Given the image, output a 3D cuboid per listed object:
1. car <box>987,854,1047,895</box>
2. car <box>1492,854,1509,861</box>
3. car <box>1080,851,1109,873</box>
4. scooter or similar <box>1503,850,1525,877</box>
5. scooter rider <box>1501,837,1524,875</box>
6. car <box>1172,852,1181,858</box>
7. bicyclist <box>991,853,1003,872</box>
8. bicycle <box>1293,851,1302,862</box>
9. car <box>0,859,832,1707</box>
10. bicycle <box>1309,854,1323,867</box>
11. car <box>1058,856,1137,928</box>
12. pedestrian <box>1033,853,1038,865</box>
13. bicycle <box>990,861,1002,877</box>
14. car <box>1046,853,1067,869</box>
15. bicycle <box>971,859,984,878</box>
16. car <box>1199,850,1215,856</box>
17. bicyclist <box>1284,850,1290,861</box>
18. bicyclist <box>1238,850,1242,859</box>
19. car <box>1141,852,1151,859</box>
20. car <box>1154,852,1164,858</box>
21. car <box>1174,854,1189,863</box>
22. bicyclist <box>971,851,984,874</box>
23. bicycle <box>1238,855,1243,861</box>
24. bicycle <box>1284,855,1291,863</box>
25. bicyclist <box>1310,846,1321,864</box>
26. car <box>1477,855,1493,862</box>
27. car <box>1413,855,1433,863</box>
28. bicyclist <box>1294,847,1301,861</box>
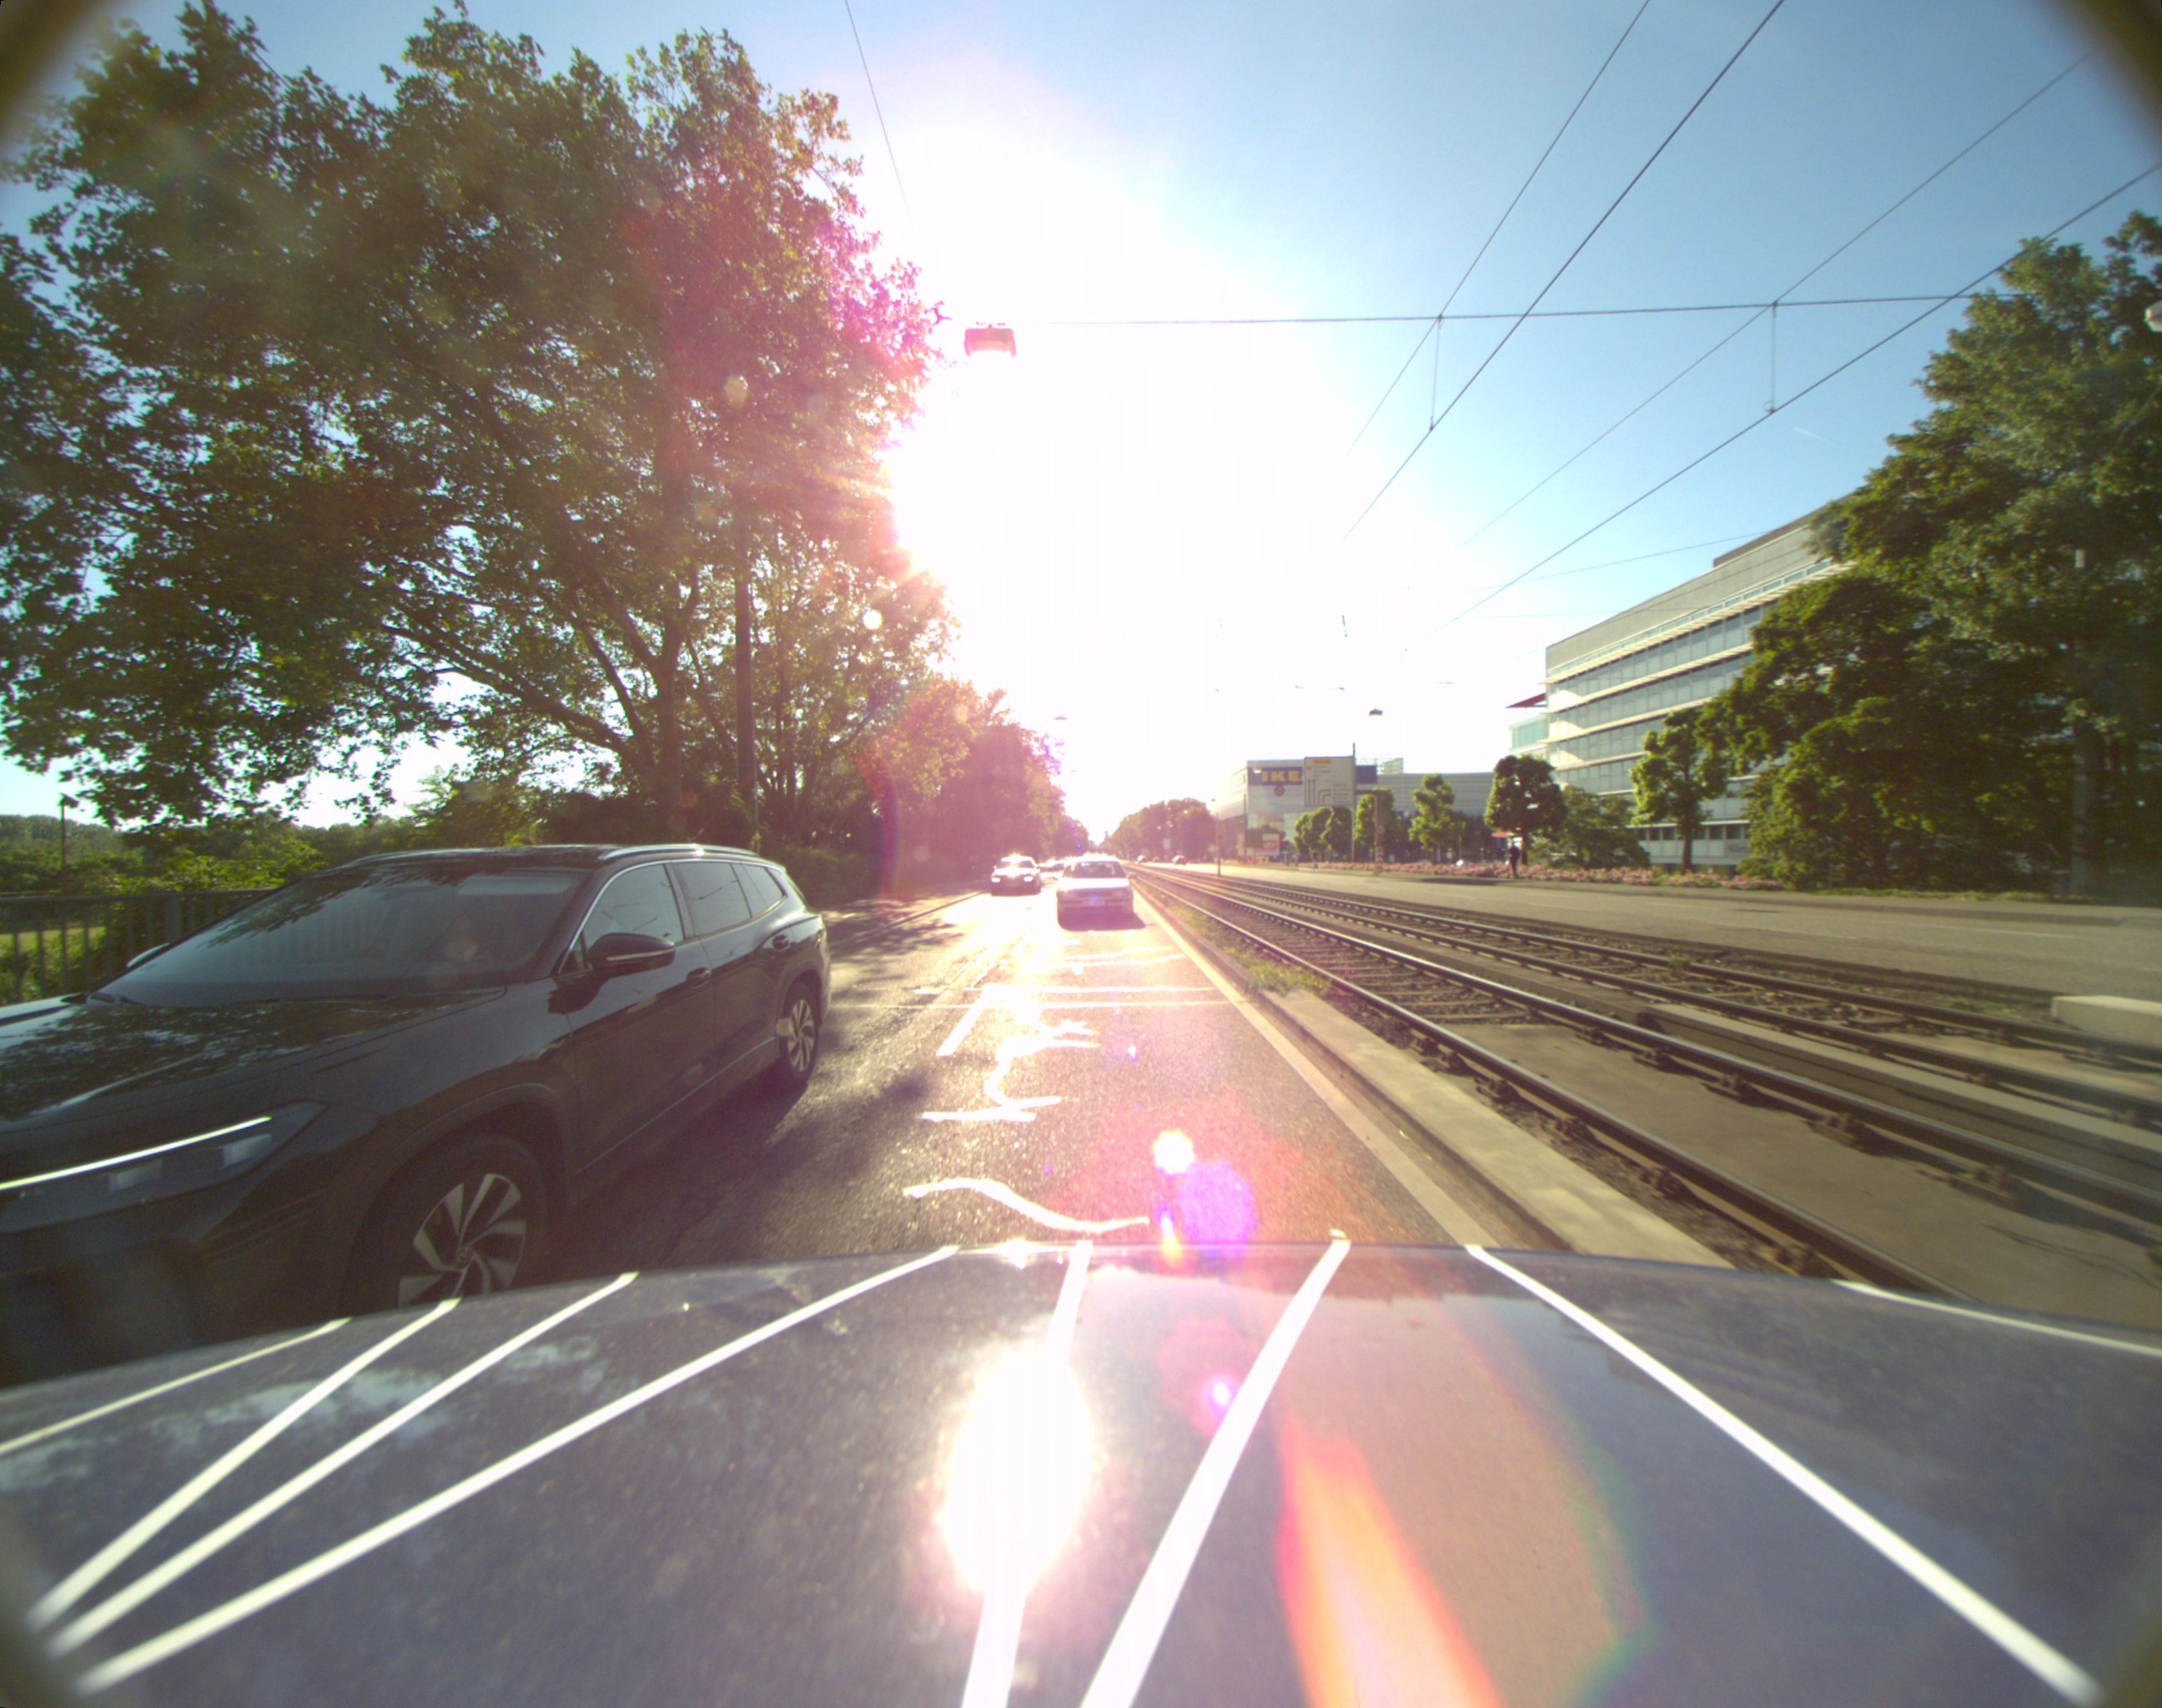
[{"bbox_3d":[-2.557,0.785,31.402,1.870,1.459,4.586,-2,0,2],"label":"car"},{"bbox_3d":[98.487,0.894,178.446,1.800,1.645,4.000,-1,0,1],"label":"car"},{"bbox_3d":[1.012,0.569,54.789,1.871,1.422,3.831,-3,0,3],"label":"car"},{"bbox_3d":[21.495,0.467,37.746,0.473,1.288,1.263,-1,1,7],"label":"scooter or similar"},{"bbox_3d":[21.454,0.105,37.768,0.683,1.838,1.001,-1,1,8],"label":"scooter rider"},{"bbox_3d":[22.799,0.262,181.556,1.938,1.468,4.134,1,0,9],"label":"car"},{"bbox_3d":[-5.506,0.543,49.687,0.642,1.219,0.890,0,0,0],"label":"bicyclist"},{"bbox_3d":[25.473,0.321,89.454,0.604,1.212,1.749,-3,0,7],"label":"bicycle"},{"bbox_3d":[-2.788,0.898,3.323,1.849,1.651,4.439,-1,1,1],"label":"car"},{"bbox_3d":[20.229,0.533,65.410,0.706,1.067,2.028,-3,0,7],"label":"bicycle"},{"bbox_3d":[0.374,0.811,18.034,1.602,1.440,3.799,-3,0,1],"label":"car"},{"bbox_3d":[-6.849,0.740,113.664,0.724,1.698,0.813,0,0,0],"label":"pedestrian"},{"bbox_3d":[-5.503,0.961,49.410,0.566,0.968,1.788,-1,1,0],"label":"bicycle"},{"bbox_3d":[-2.328,0.650,70.705,1.857,1.415,3.979,-2,0,-3],"label":"car"},{"bbox_3d":[-6.725,0.934,49.405,0.623,1.114,1.812,-1,1,0],"label":"bicycle"},{"bbox_3d":[34.947,-0.208,210.898,4.252,1.489,2.016,1,1,6],"label":"car"},{"bbox_3d":[27.340,0.223,100.701,0.626,1.366,0.880,-1,0,4],"label":"bicyclist"},{"bbox_3d":[29.996,0.110,143.072,0.662,1.614,0.801,-3,0,10],"label":"bicyclist"},{"bbox_3d":[15.028,0.277,176.543,1.998,1.646,4.659,0,0,1],"label":"car"},{"bbox_3d":[18.809,0.256,183.123,1.861,1.452,4.137,-1,0,-1],"label":"car"},{"bbox_3d":[17.122,0.711,129.734,2.044,1.494,4.887,-1,0,1],"label":"car"},{"bbox_3d":[-6.722,0.566,49.425,0.687,1.500,0.890,-1,0,0],"label":"bicyclist"},{"bbox_3d":[30.029,0.747,143.043,0.662,1.144,2.023,-3,0,10],"label":"bicycle"},{"bbox_3d":[27.347,0.607,100.691,0.626,1.052,1.704,-1,0,4],"label":"bicycle"},{"bbox_3d":[20.207,0.123,65.482,0.706,1.503,0.971,-3,0,7],"label":"bicyclist"},{"bbox_3d":[95.059,1.021,178.737,1.727,1.645,4.000,-1,0,1],"label":"car"},{"bbox_3d":[81.268,1.167,180.423,1.828,1.789,4.223,-3,0,-21],"label":"car"},{"bbox_3d":[25.448,-0.007,89.410,0.604,1.649,0.963,-3,0,7],"label":"bicyclist"}]
